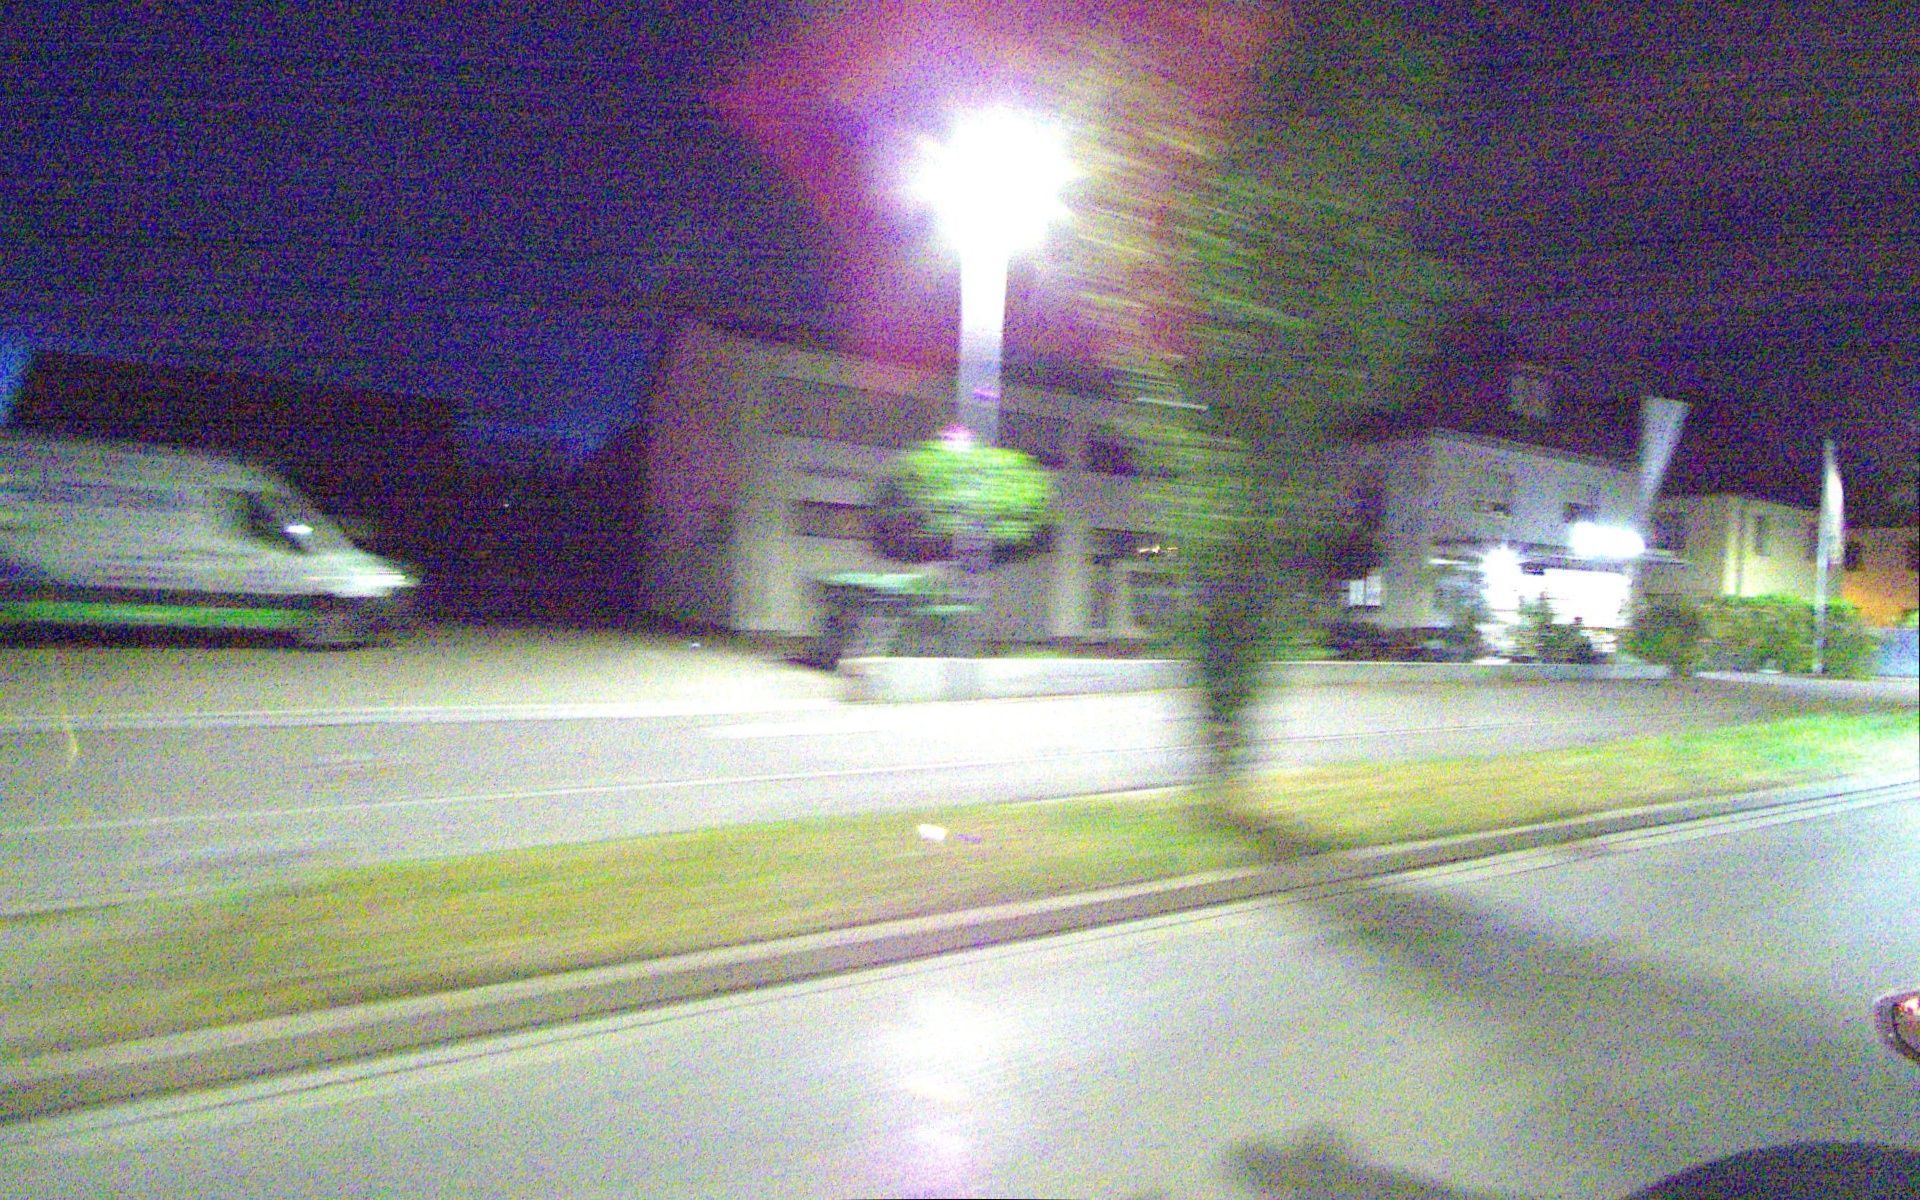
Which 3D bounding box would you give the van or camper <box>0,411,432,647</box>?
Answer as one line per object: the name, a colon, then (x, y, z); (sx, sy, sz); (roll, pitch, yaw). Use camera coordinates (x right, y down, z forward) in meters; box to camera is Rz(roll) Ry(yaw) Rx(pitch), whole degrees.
van or camper: (-10.494, -0.828, 13.529); (5.861, 2.784, 2.064); (2, 1, -31)
